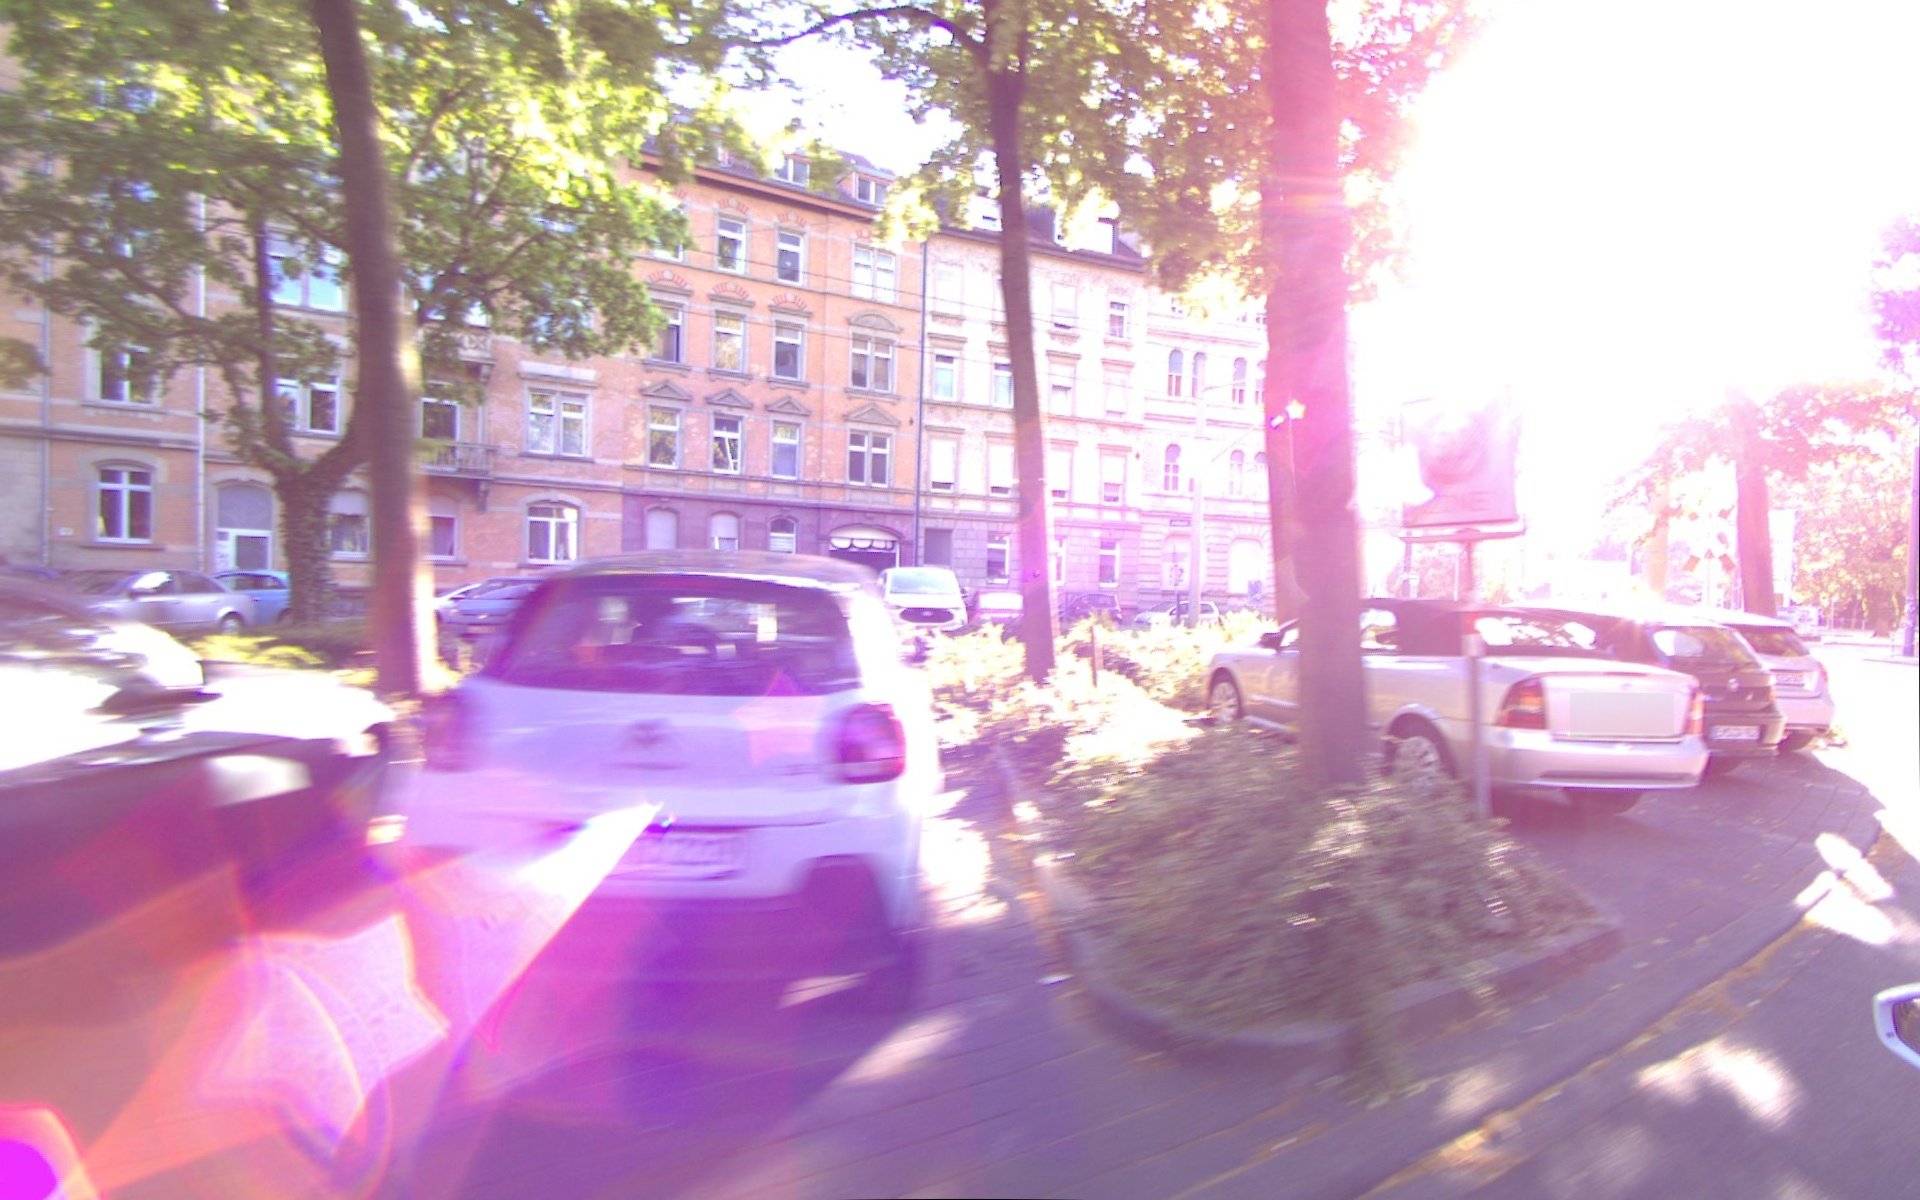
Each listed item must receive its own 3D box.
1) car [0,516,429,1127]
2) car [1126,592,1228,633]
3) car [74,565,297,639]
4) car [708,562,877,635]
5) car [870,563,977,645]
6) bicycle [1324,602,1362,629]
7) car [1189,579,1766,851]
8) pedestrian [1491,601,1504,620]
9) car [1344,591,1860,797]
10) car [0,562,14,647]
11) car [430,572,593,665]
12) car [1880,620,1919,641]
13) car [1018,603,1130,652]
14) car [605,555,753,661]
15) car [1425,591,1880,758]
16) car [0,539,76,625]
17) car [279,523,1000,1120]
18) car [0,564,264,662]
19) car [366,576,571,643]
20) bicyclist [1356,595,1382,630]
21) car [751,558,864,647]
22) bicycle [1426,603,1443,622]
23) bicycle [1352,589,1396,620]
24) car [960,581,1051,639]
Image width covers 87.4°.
[{"bbox_3d":[-3.231,0.512,2.542,1.797,1.458,4.196,3,3,-5],"label":"car"},{"bbox_3d":[8.475,0.466,39.324,3.447,1.448,1.845,1,3,-25],"label":"car"},{"bbox_3d":[-18.158,0.018,23.827,4.015,1.539,1.840,0,4,-33],"label":"car"},{"bbox_3d":[-5.272,-0.073,31.819,4.946,2.091,1.840,0,4,-33],"label":"car"},{"bbox_3d":[-1.027,0.071,24.705,2.047,1.788,5.051,1,0,-9],"label":"car"},{"bbox_3d":[18.393,0.746,48.288,1.766,1.222,0.500,1,4,-22],"label":"bicycle"},{"bbox_3d":[3.539,0.651,7.834,1.745,1.383,3.972,2,3,-14],"label":"car"},{"bbox_3d":[50.666,0.963,94.647,0.911,1.715,0.777,2,1,21],"label":"pedestrian"},{"bbox_3d":[5.763,0.724,9.708,1.745,1.425,4.027,2,2,-15],"label":"car"},{"bbox_3d":[-16.381,0.069,14.728,1.694,1.399,3.735,1,0,-5],"label":"car"},{"bbox_3d":[-8.815,0.334,20.059,1.628,1.662,3.650,1,0,-1],"label":"car"},{"bbox_3d":[72.348,2.356,75.914,3.935,1.472,1.803,2,1,36],"label":"car"},{"bbox_3d":[4.257,0.980,37.328,3.829,1.584,1.840,0,4,-33],"label":"car"},{"bbox_3d":[-5.911,0.146,21.665,1.960,2.040,4.000,1,0,1],"label":"car"},{"bbox_3d":[7.688,0.722,11.771,1.744,1.449,4.282,2,2,-13],"label":"car"},{"bbox_3d":[-21.421,-0.414,21.160,3.957,1.799,1.783,1,0,-33],"label":"car"},{"bbox_3d":[-0.935,0.501,4.550,1.797,1.514,3.881,3,3,-3],"label":"car"},{"bbox_3d":[-13.858,0.171,16.682,1.562,1.399,4.289,1,0,1],"label":"car"},{"bbox_3d":[-13.022,0.210,26.701,4.720,1.562,1.840,0,4,-33],"label":"car"},{"bbox_3d":[19.124,0.578,46.991,0.694,1.510,0.589,7,3,-26],"label":"bicyclist"},{"bbox_3d":[-3.356,0.036,23.041,2.045,1.788,4.834,1,0,-3],"label":"car"},{"bbox_3d":[46.069,1.195,97.493,1.337,1.830,0.565,2,1,37],"label":"bicycle"},{"bbox_3d":[19.451,0.206,47.162,2.100,1.147,0.499,8,3,-28],"label":"bicycle"},{"bbox_3d":[1.084,0.232,25.532,1.685,1.347,3.629,1,0,-7],"label":"car"}]
